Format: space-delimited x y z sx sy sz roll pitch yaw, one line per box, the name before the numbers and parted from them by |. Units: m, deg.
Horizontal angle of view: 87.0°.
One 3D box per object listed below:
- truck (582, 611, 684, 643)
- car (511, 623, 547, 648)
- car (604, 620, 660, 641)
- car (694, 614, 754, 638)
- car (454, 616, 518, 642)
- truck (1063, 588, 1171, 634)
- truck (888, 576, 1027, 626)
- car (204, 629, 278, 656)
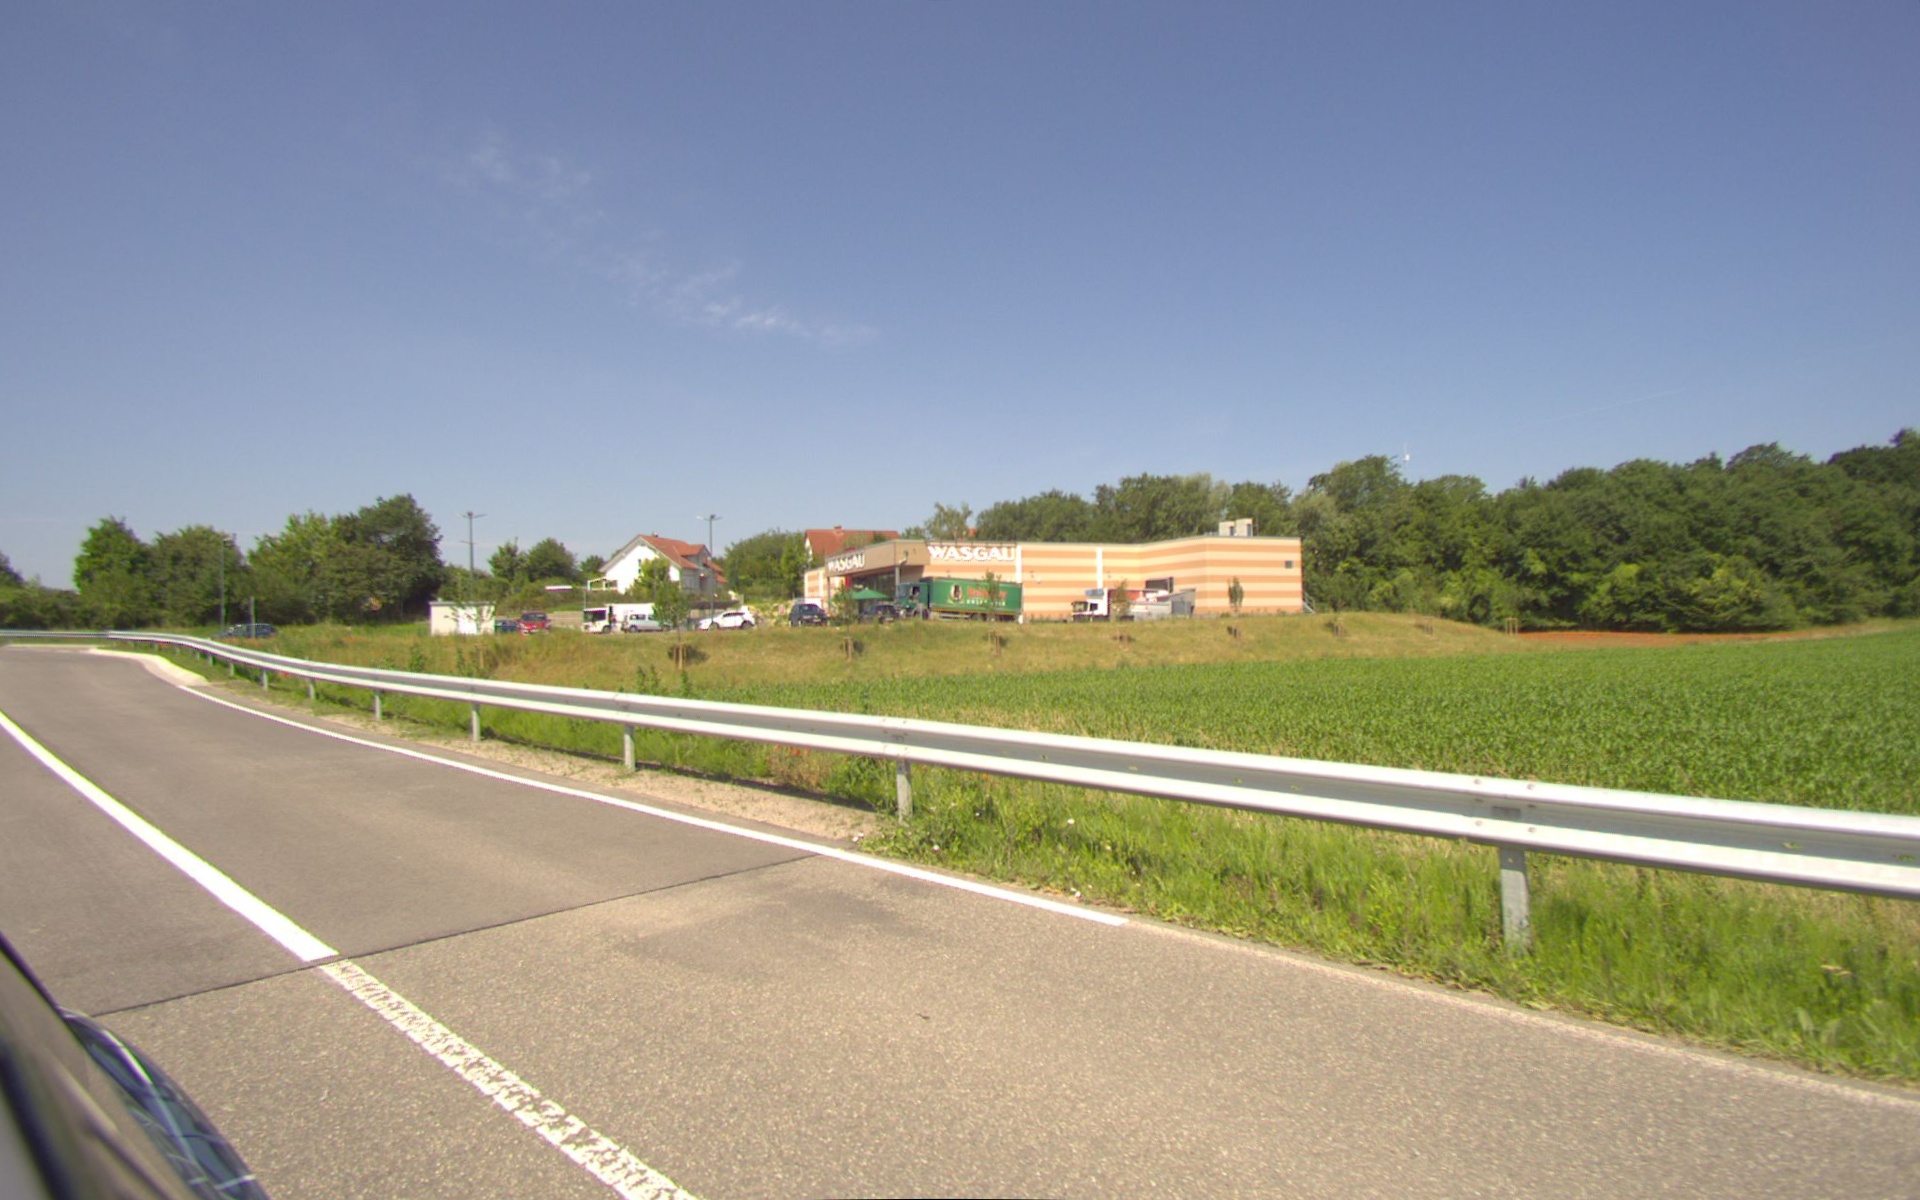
truck | -35.962 2.888 111.681 10.553 3.215 2.451 -1 0 -41
car | -24.750 1.997 58.080 1.596 1.299 3.685 -1 0 -28
car | -27.850 2.532 85.881 4.258 1.609 2.006 -1 0 -27
car | -18.874 2.069 80.907 4.258 1.717 2.007 -1 0 -26
car | -35.518 2.153 75.988 4.258 1.717 2.007 -1 0 -24
truck | 13.103 0.823 84.235 8.728 3.591 2.888 -1 0 -24
truck | -0.167 0.020 74.384 9.770 3.503 2.888 -1 0 -21
car | -51.901 3.067 73.172 4.124 1.717 2.006 -1 0 -28
